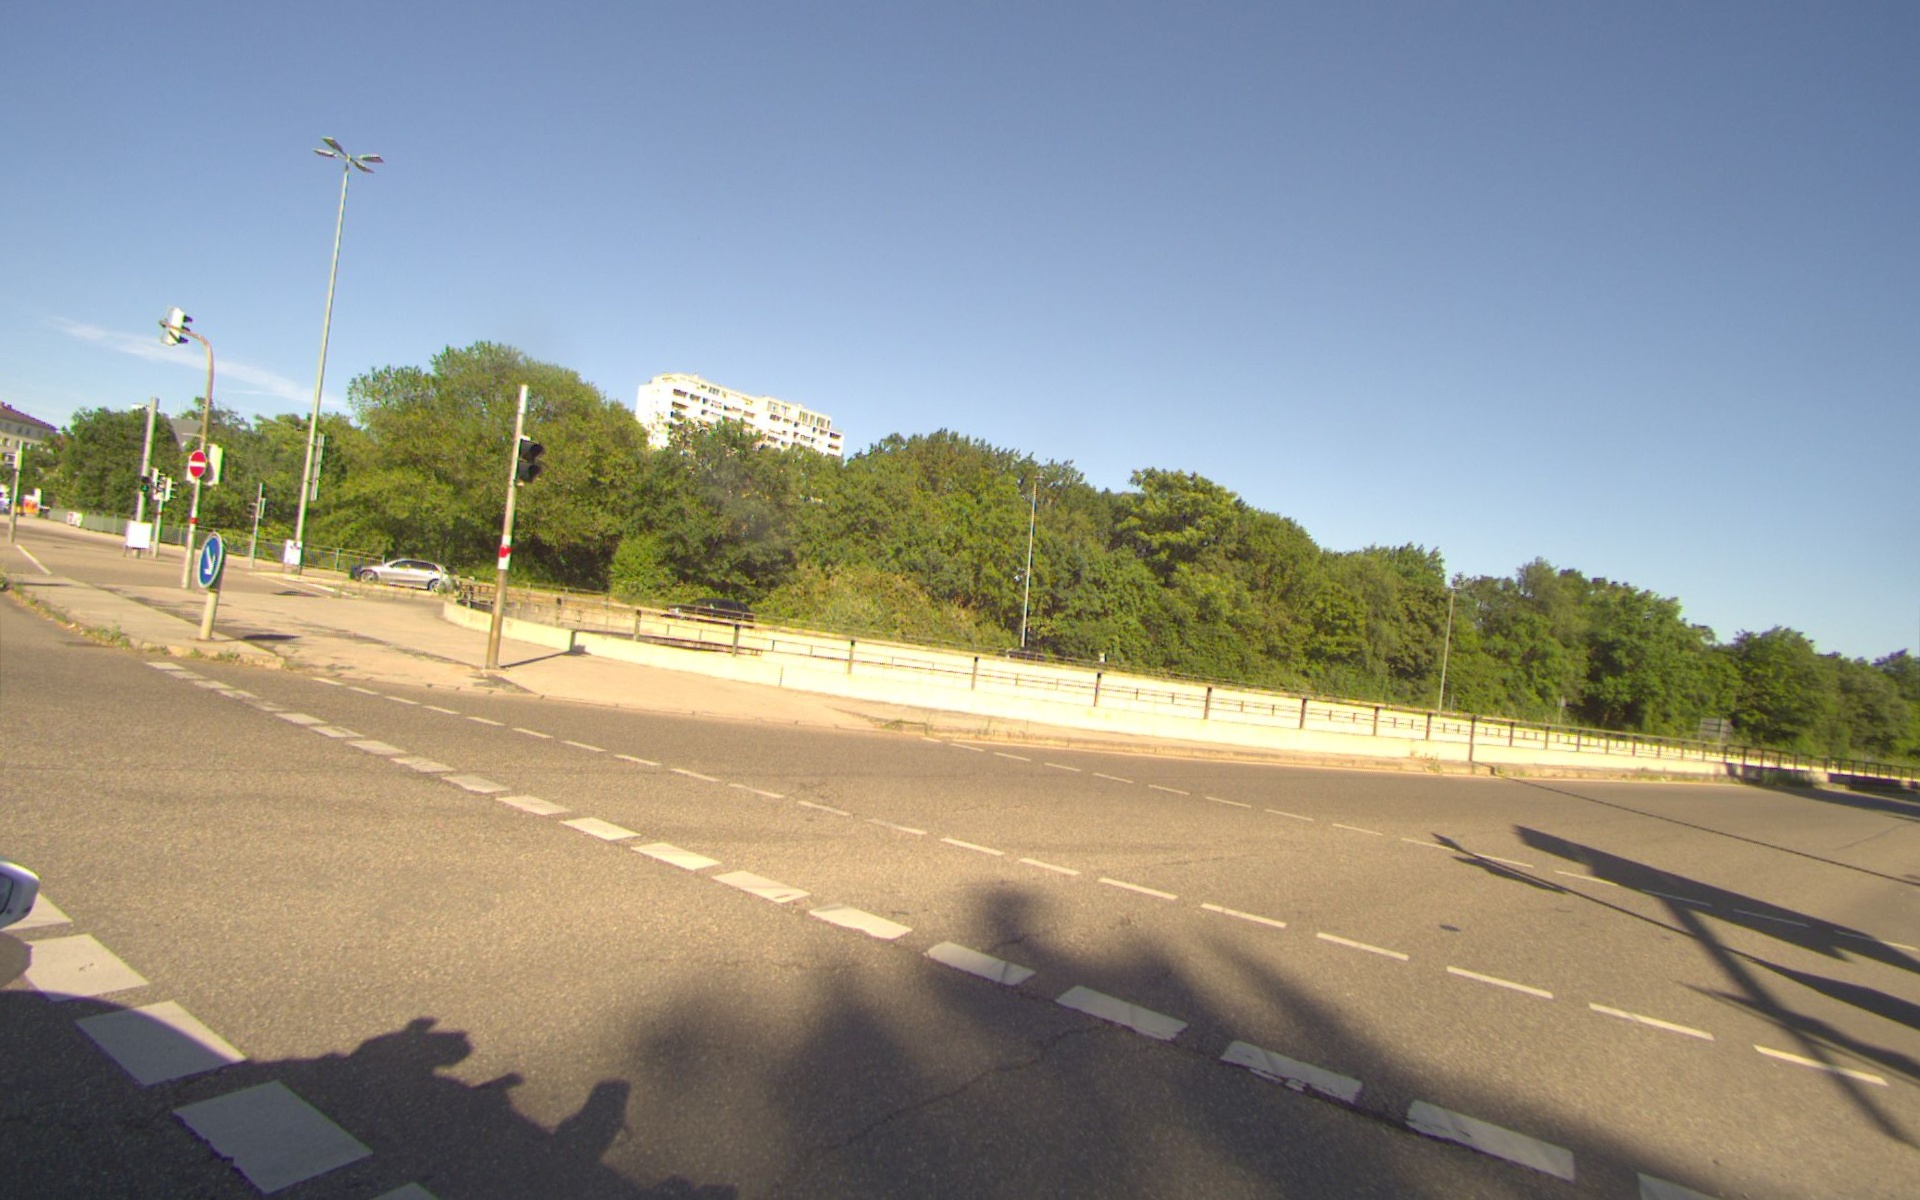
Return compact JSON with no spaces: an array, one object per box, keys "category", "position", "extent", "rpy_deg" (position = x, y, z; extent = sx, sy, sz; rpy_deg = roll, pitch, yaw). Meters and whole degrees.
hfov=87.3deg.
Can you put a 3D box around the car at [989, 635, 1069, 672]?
[{"category":"car","position":[4.273,3.315,62.273],"extent":[4.634,1.635,1.845],"rpy_deg":[9,-1,-34]}]

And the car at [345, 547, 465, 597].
[{"category":"car","position":[-24.331,-1.214,44.251],"extent":[4.183,1.570,1.854],"rpy_deg":[8,-1,-18]}]

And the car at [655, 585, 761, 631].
[{"category":"car","position":[-12.488,0.409,49.996],"extent":[4.640,1.635,1.842],"rpy_deg":[9,-2,-37]}]
